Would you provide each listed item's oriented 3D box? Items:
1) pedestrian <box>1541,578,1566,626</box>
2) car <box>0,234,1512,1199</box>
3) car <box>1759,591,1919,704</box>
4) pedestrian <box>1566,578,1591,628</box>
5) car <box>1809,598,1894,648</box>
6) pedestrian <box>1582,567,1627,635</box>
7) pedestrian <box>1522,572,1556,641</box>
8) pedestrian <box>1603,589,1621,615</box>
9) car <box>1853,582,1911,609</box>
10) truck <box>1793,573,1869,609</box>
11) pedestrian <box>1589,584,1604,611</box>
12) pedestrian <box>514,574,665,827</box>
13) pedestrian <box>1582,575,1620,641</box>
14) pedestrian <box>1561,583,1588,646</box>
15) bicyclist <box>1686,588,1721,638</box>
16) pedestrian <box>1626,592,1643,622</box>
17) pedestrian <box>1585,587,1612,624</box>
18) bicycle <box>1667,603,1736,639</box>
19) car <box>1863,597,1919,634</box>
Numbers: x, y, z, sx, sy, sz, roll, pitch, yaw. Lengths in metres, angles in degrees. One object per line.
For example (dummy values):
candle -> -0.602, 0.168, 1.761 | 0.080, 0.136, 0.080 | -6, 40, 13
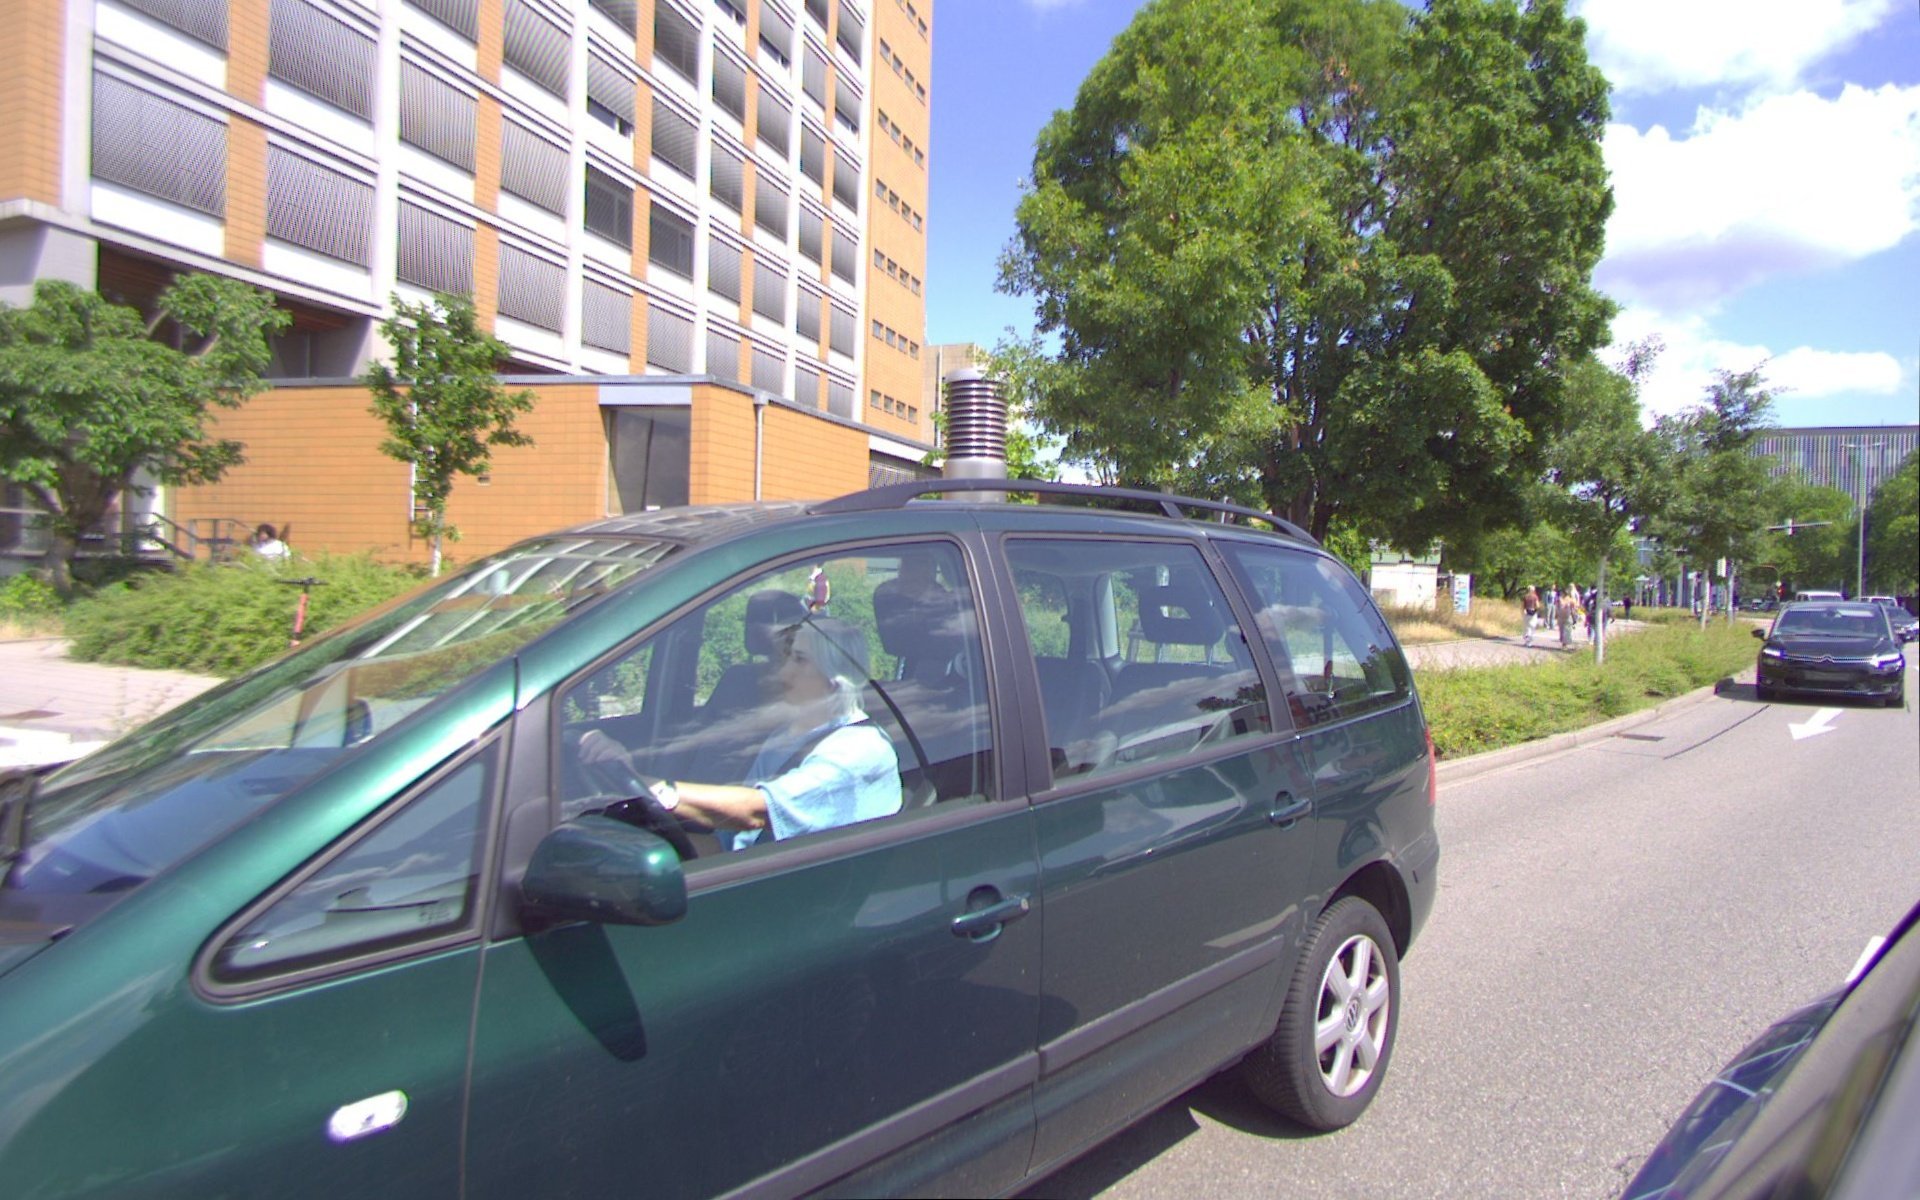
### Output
pedestrian -> 22.686, 0.070, 38.672 | 0.747, 1.774, 0.602 | 3, 1, 32
car -> -0.361, 0.520, 2.650 | 4.371, 1.745, 1.797 | 0, 0, -42
car -> 14.792, 0.686, 16.960 | 1.857, 1.643, 4.450 | -1, 0, 43
pedestrian -> 23.515, 0.104, 38.492 | 0.747, 1.825, 0.602 | 3, 1, 32
car -> 28.297, 0.689, 32.243 | 1.757, 1.435, 4.303 | -1, 0, 38
pedestrian -> 15.964, 0.014, 25.067 | 0.761, 1.645, 0.652 | 0, 4, -41
pedestrian -> 15.632, 0.171, 27.331 | 0.753, 1.844, 0.630 | 0, 1, 34
pedestrian -> 44.840, 0.133, 69.626 | 0.743, 1.799, 0.876 | 3, 1, 20
car -> 68.436, -0.367, 75.211 | 1.868, 1.918, 4.825 | 1, 1, 26
truck -> 59.241, -0.610, 68.978 | 2.438, 2.330, 5.763 | -1, 0, 26
pedestrian -> 43.940, -0.173, 69.893 | 0.660, 1.768, 0.605 | 3, 1, 20
pedestrian -> -2.555, 0.631, 6.974 | 0.748, 1.609, 0.757 | -1, 1, -41
pedestrian -> 18.904, 0.219, 29.871 | 0.751, 1.843, 0.773 | 5, 3, 28
pedestrian -> 16.263, 0.365, 26.764 | 0.585, 1.646, 0.719 | 0, 1, 34
bicyclist -> 25.299, 0.437, 34.440 | 0.825, 1.620, 0.573 | 4, 3, 33
pedestrian -> 40.339, 0.397, 60.507 | 0.661, 1.771, 0.840 | 3, 1, 25
pedestrian -> 29.102, 0.248, 46.144 | 0.742, 1.616, 0.876 | 3, 1, 18
bicycle -> 25.247, 0.707, 34.485 | 1.803, 1.062, 0.585 | 5, 4, 33
car -> 40.318, 0.639, 43.356 | 1.740, 1.523, 4.466 | -1, 0, 33
